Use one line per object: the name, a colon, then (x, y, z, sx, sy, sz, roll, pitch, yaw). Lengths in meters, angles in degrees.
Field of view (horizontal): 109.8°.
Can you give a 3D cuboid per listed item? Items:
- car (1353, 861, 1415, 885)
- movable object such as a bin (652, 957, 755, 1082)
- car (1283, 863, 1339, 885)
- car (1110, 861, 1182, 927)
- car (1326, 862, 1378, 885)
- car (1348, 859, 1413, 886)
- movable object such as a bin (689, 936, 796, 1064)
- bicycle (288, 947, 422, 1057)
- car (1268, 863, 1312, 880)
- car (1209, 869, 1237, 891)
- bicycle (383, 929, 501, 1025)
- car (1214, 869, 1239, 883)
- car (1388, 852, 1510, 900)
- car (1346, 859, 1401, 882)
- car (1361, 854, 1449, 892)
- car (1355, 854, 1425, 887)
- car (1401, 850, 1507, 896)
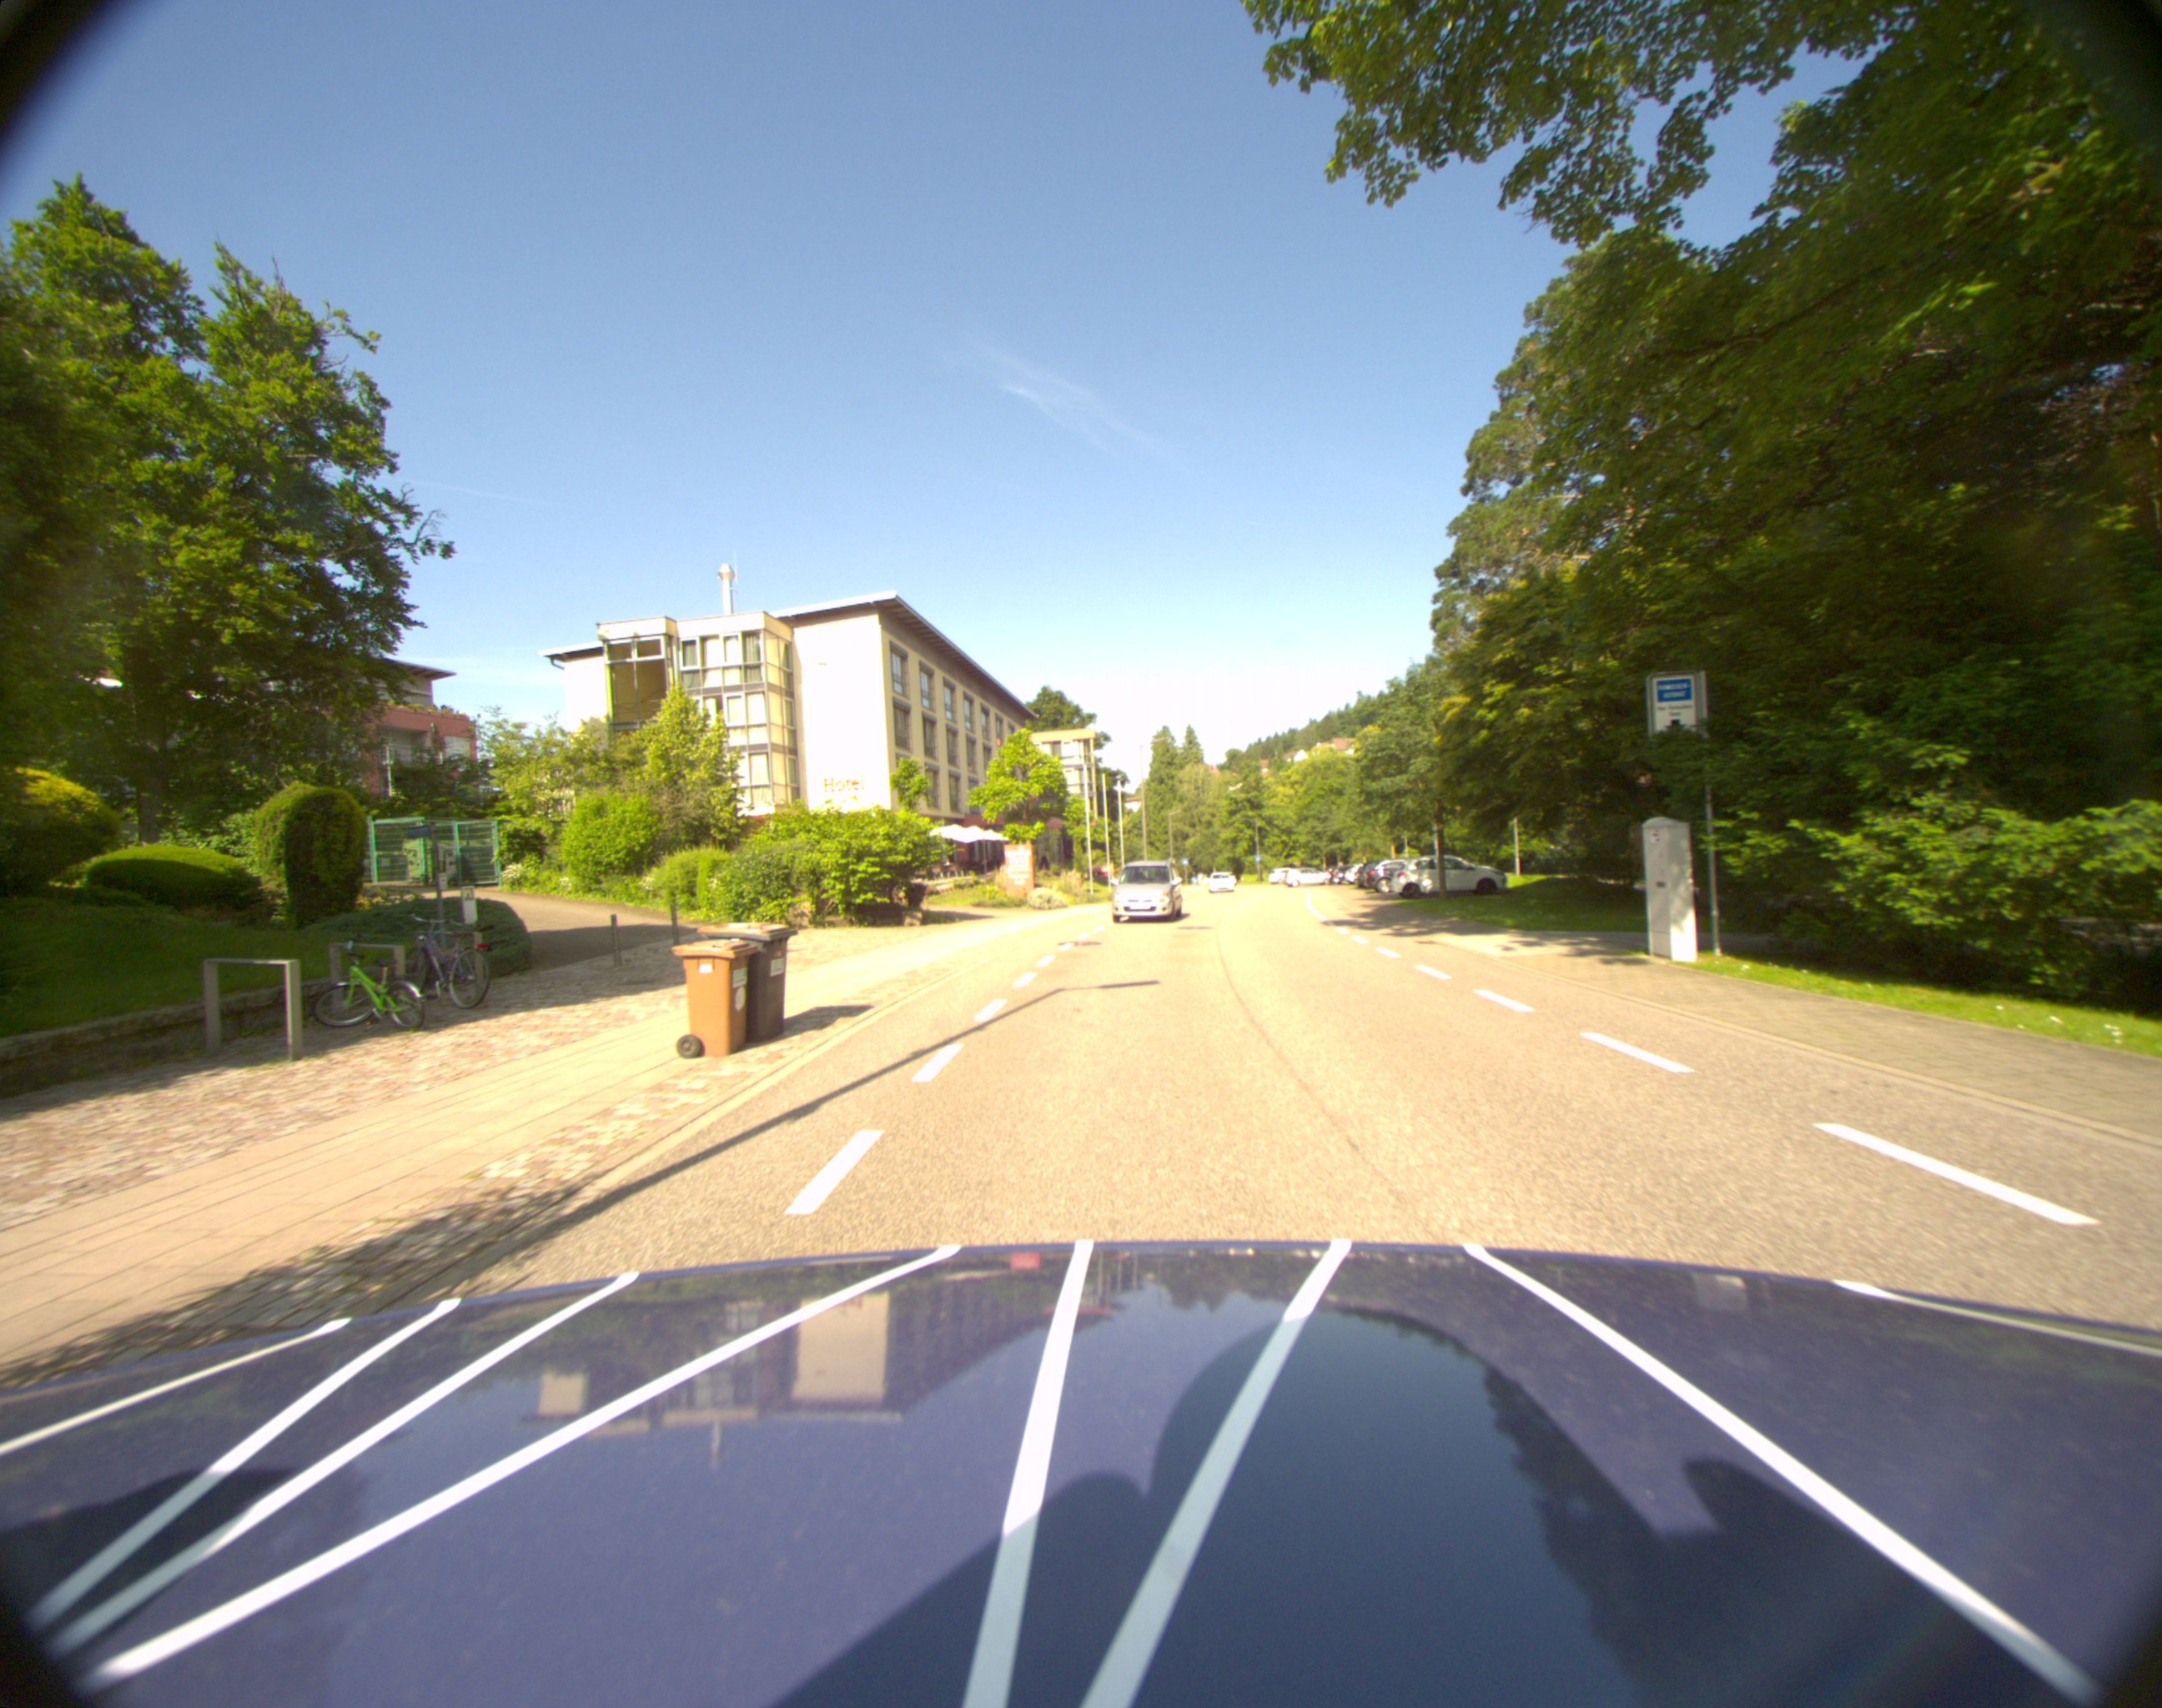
car: (19.449, 1.231, 48.944, 3.487, 1.293, 1.555, -5, -1, 16)
movable object such as a bin: (-3.092, 1.341, 6.255, 0.526, 0.906, 0.563, -1, 0, 3)
car: (18.508, 1.627, 61.267, 3.996, 1.389, 1.517, -5, -2, 4)
car: (1.876, 1.030, 20.986, 1.603, 1.628, 4.003, -1, -1, 10)
car: (20.464, 1.462, 57.490, 3.487, 1.417, 1.555, -5, -1, 16)
car: (18.233, 1.134, 46.408, 3.487, 1.417, 1.555, -5, -1, 16)
movable object such as a bin: (-3.016, 1.286, 6.814, 0.657, 1.026, 0.571, -1, 0, 3)
bicycle: (-7.184, 1.431, 7.507, 1.544, 0.904, 0.385, 0, 0, 24)
car: (21.578, 1.846, 78.392, 3.999, 1.468, 1.515, -3, -2, -8)
car: (10.530, 1.916, 56.107, 1.738, 1.488, 3.934, -2, -1, 15)
bicycle: (-7.402, 1.393, 8.791, 1.544, 0.977, 0.385, -1, 1, 24)
car: (15.751, 2.369, 82.374, 1.775, 1.495, 4.000, -2, -1, -2)
car: (13.277, 0.787, 27.629, 3.682, 1.478, 1.568, -4, -1, 16)
car: (20.991, 1.171, 54.663, 3.487, 1.417, 1.555, -5, -1, 16)
car: (14.978, 0.892, 35.279, 3.487, 1.536, 1.445, -4, -2, 16)
car: (17.695, 0.951, 43.662, 3.487, 1.610, 1.382, -5, -1, 16)
car: (14.603, 0.761, 29.915, 3.487, 1.542, 1.382, -4, -1, 16)
